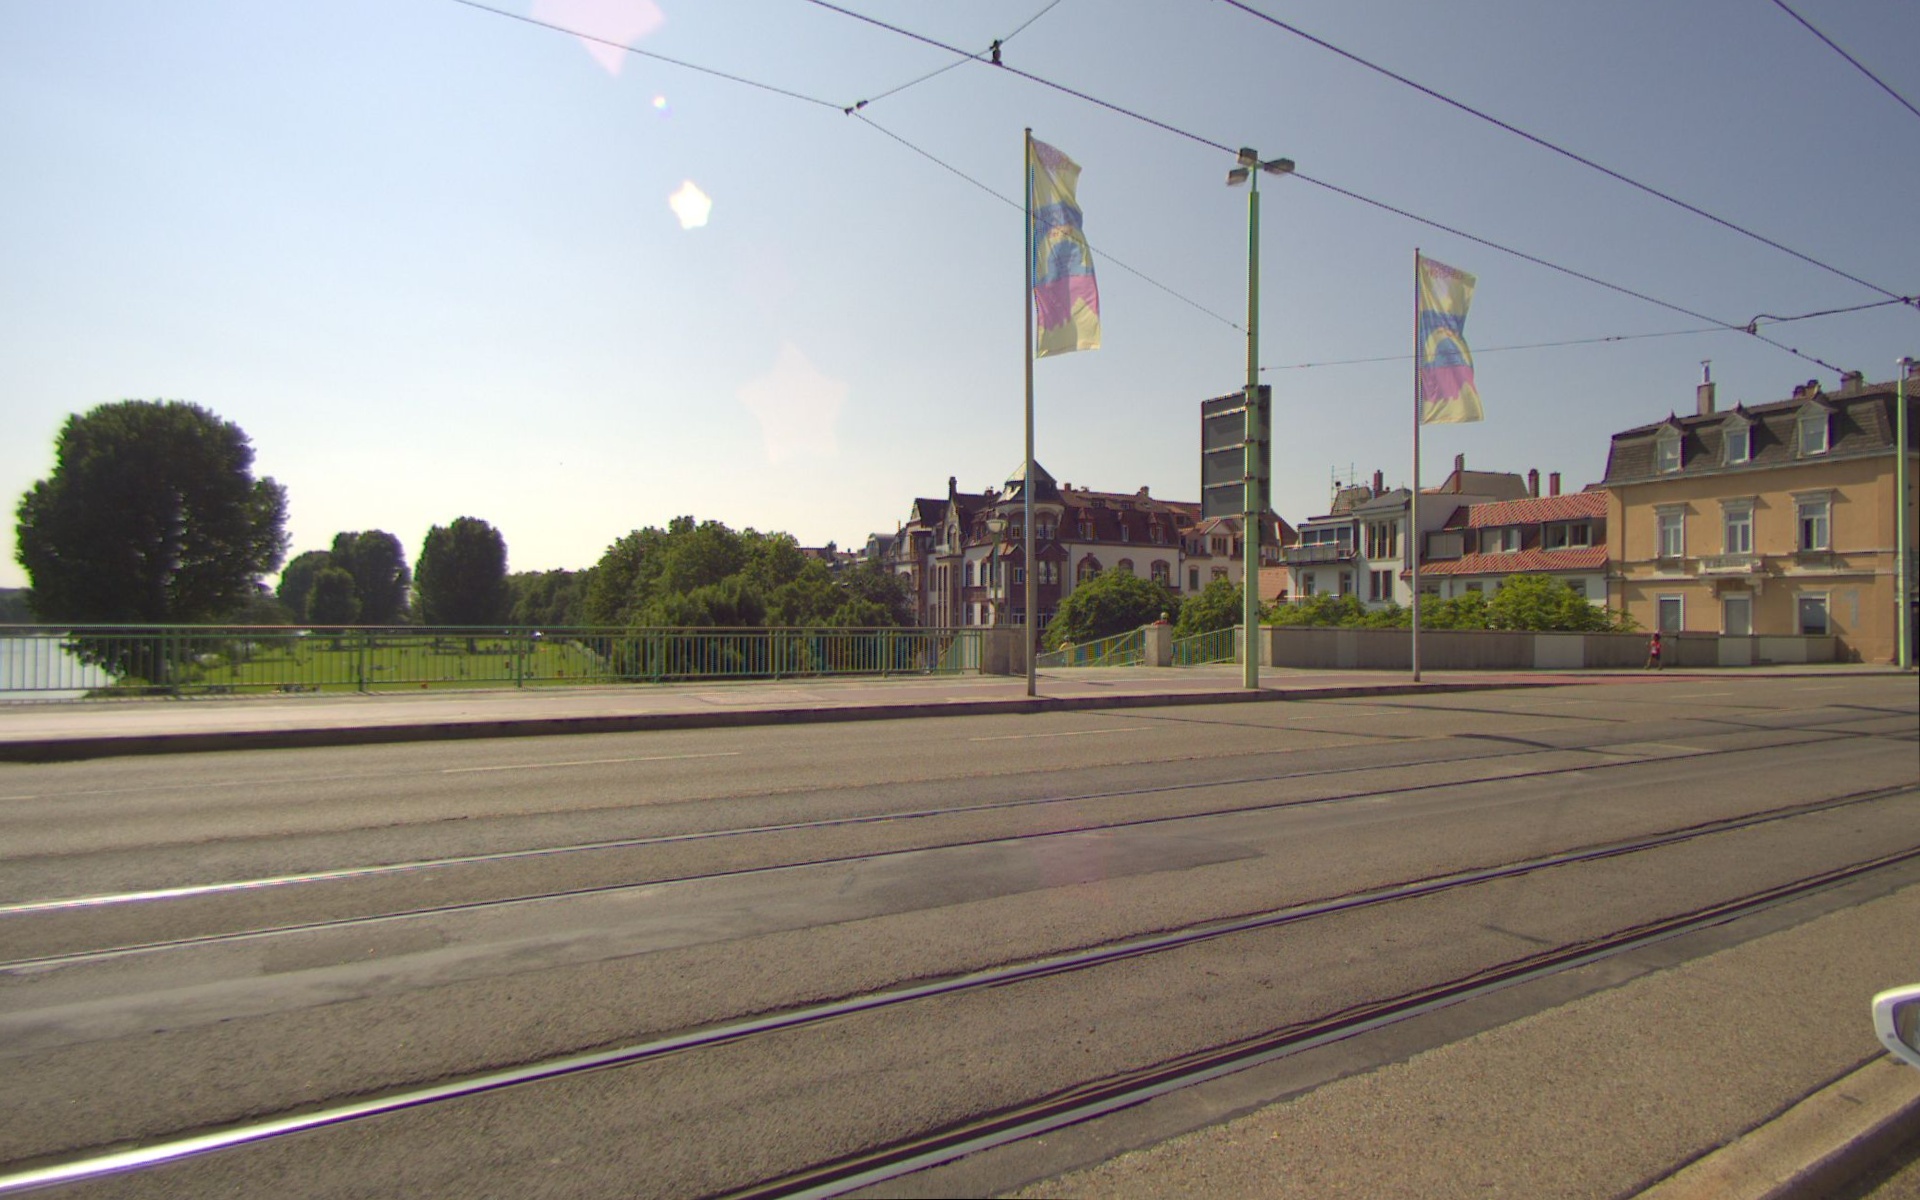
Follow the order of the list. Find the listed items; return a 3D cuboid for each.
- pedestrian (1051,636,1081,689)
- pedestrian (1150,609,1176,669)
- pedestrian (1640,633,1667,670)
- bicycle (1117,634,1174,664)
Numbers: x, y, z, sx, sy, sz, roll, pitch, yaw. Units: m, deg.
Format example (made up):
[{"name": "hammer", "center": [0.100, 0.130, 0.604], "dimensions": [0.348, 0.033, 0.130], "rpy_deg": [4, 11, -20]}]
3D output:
[{"name": "pedestrian", "center": [3.646, 2.139, 34.551], "dimensions": [0.791, 1.804, 0.743], "rpy_deg": [1, -1, -25]}, {"name": "pedestrian", "center": [5.776, 1.101, 28.602], "dimensions": [0.407, 1.654, 0.624], "rpy_deg": [1, 1, -25]}, {"name": "pedestrian", "center": [22.206, 1.644, 32.172], "dimensions": [0.537, 1.161, 0.411], "rpy_deg": [2, 3, -23]}, {"name": "bicycle", "center": [5.290, 1.396, 28.723], "dimensions": [0.614, 0.726, 1.922], "rpy_deg": [0, 1, -24]}]
